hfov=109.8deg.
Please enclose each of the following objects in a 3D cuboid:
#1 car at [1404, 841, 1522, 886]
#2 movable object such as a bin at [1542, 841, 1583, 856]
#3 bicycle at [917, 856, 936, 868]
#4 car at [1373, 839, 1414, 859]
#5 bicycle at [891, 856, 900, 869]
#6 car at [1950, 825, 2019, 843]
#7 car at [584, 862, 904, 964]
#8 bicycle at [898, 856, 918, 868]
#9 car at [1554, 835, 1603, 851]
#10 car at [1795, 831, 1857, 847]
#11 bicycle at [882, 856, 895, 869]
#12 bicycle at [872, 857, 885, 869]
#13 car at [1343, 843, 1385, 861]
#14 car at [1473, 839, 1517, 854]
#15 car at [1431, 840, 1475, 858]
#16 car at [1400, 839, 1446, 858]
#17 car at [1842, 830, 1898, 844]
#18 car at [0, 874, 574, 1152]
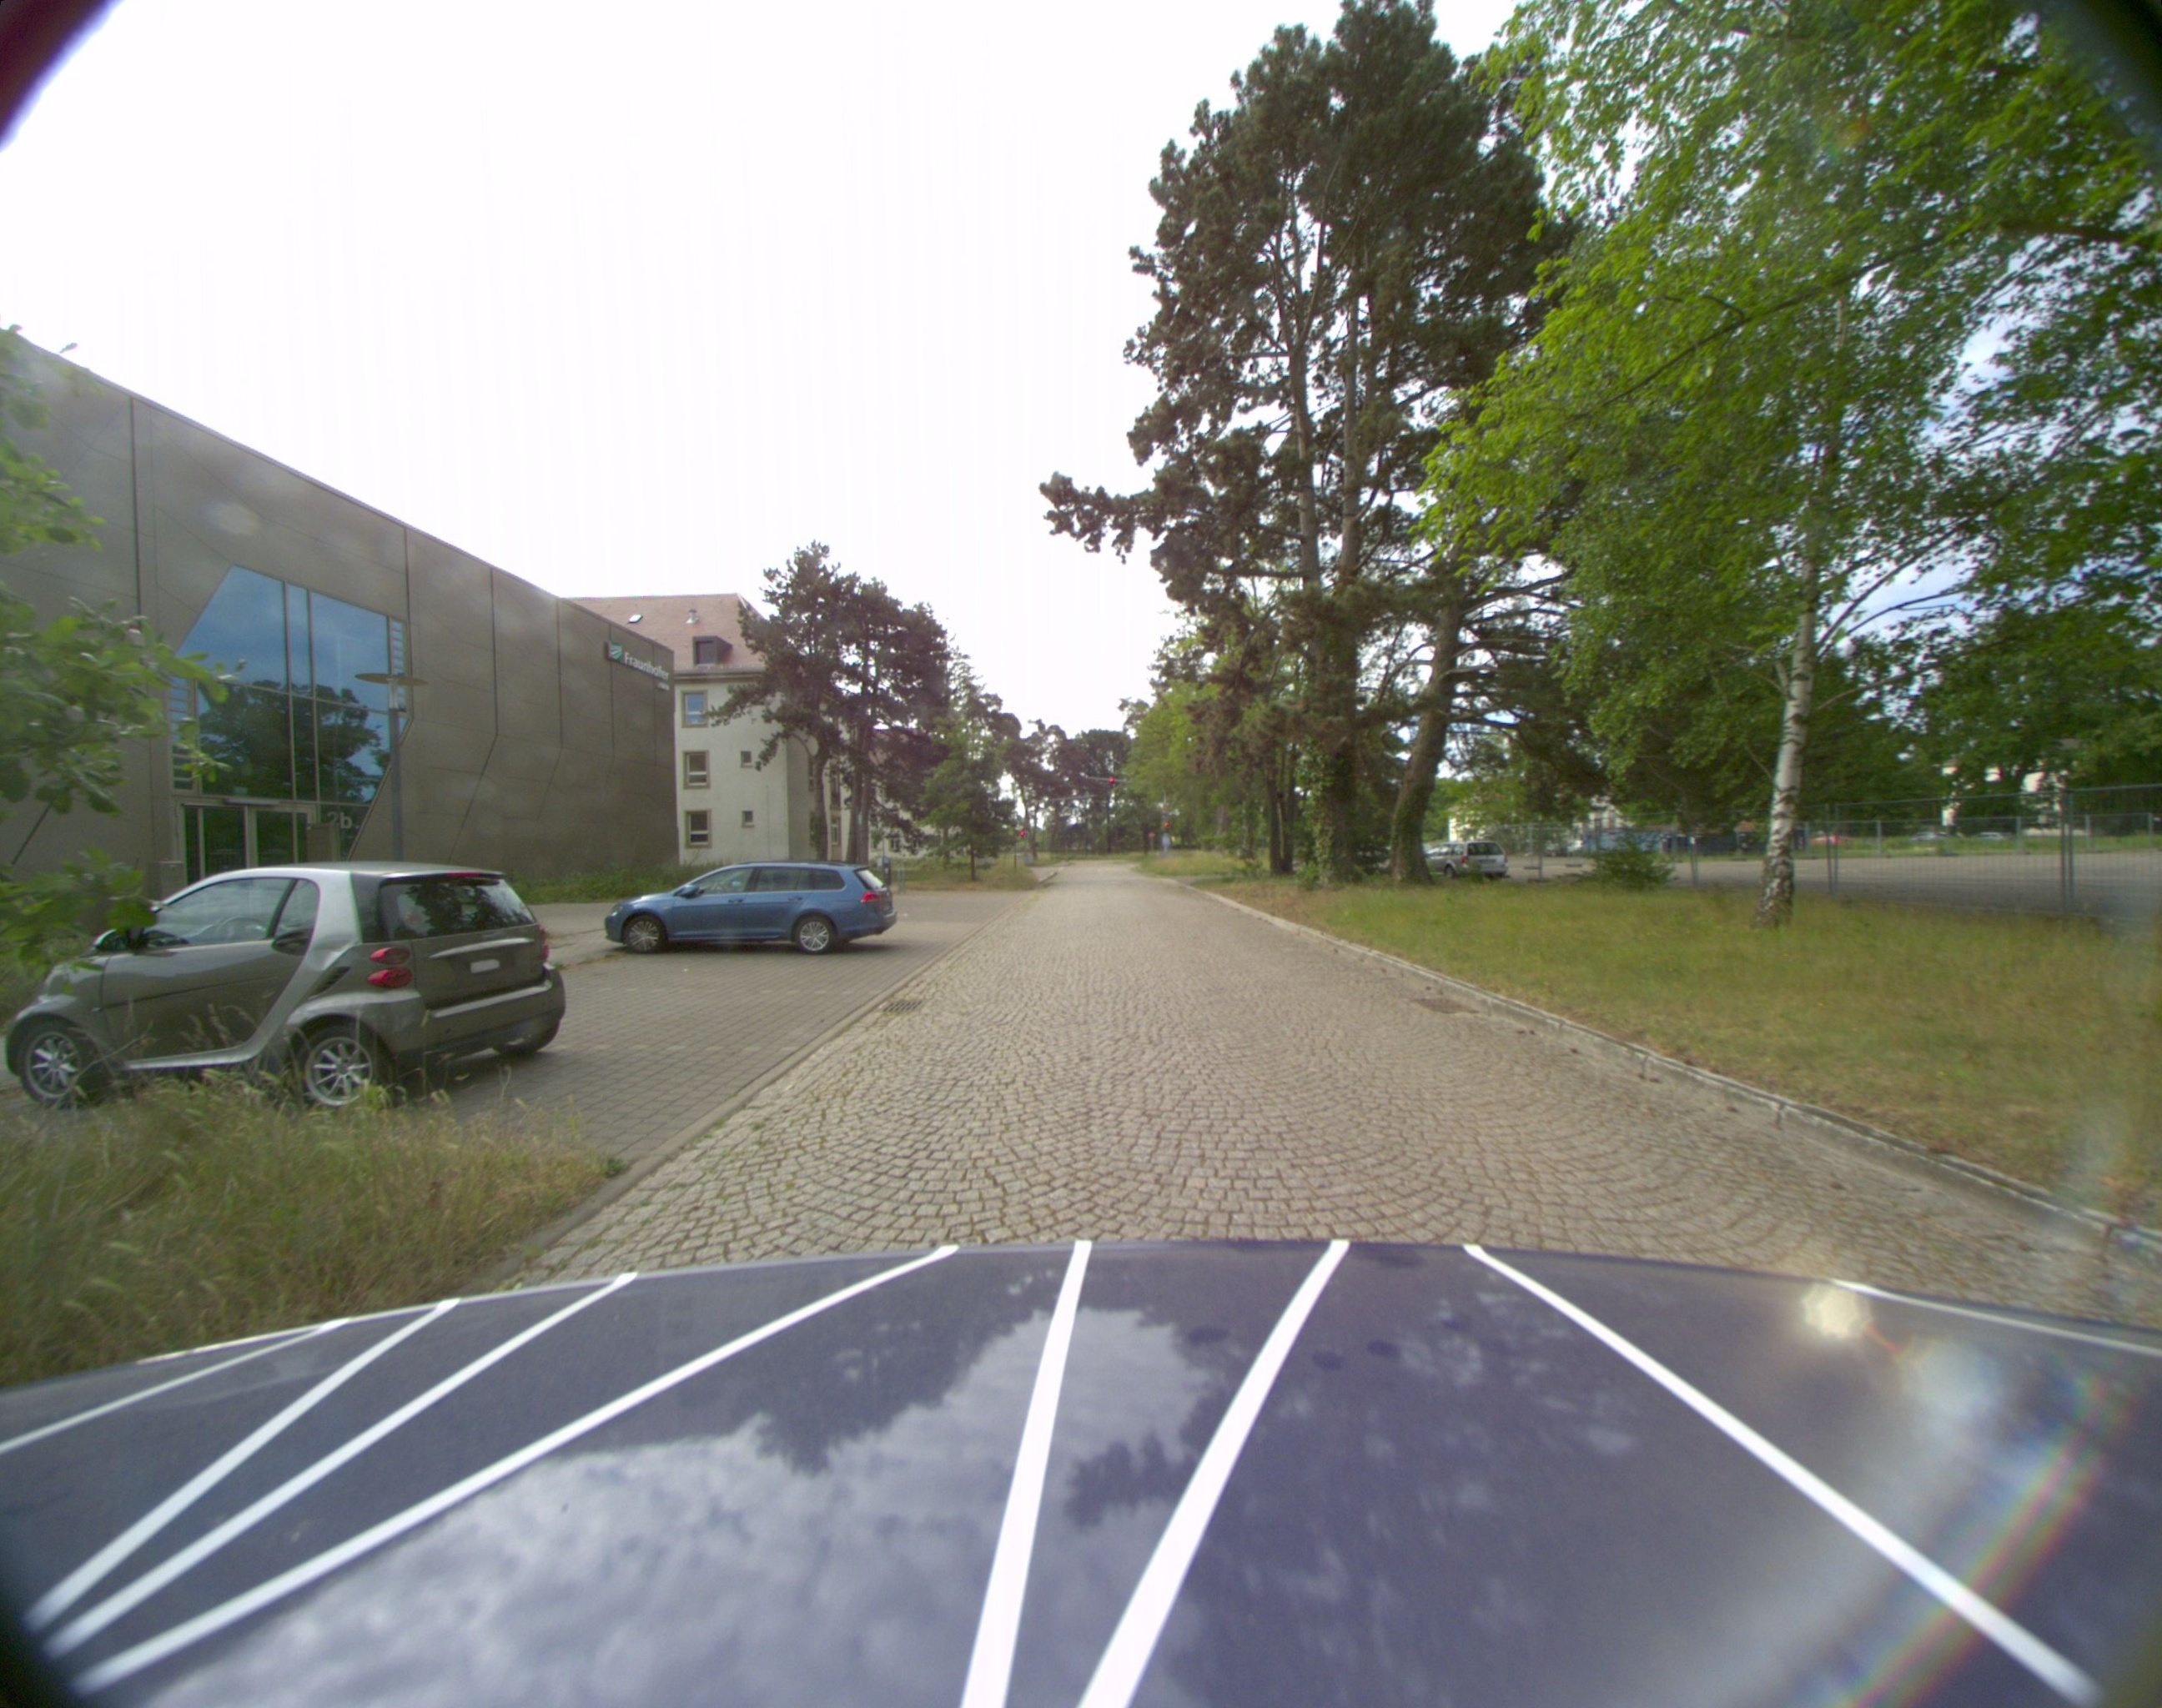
[{"bbox_3d":[13.353,0.297,26.877,1.829,1.408,4.420,1,0,-2],"label":"car"},{"bbox_3d":[32.978,-0.350,52.044,1.447,0.963,1.957,-2,1,-7],"label":"movable object such as a bin"},{"bbox_3d":[-14.422,0.772,71.010,1.656,1.079,0.614,-2,1,-3],"label":"bicycle"},{"bbox_3d":[26.401,-0.384,64.300,1.674,1.511,3.899,-2,-1,-2],"label":"car"},{"bbox_3d":[-17.677,0.810,72.526,0.476,1.121,1.656,-1,1,0],"label":"bicycle"},{"bbox_3d":[89.023,-1.960,74.935,1.828,1.712,4.585,-1,1,9],"label":"car"},{"bbox_3d":[-5.421,0.930,12.686,4.503,1.467,1.829,1,2,-2],"label":"car"},{"bbox_3d":[-16.124,0.749,70.878,1.655,1.079,0.615,-1,1,3],"label":"bicycle"},{"bbox_3d":[49.480,-1.065,75.652,1.830,1.467,4.400,-2,1,-4],"label":"car"},{"bbox_3d":[74.050,-1.440,75.593,1.829,1.467,4.402,-1,1,0],"label":"car"},{"bbox_3d":[-18.303,0.816,72.297,0.476,1.121,1.704,-1,1,9],"label":"bicycle"},{"bbox_3d":[-19.272,0.842,72.394,0.447,1.121,1.732,-1,1,9],"label":"bicycle"},{"bbox_3d":[23.896,-0.215,64.269,1.829,1.417,4.319,-2,1,-2],"label":"car"},{"bbox_3d":[41.096,-0.732,75.467,1.829,1.467,4.401,-2,1,-2],"label":"car"},{"bbox_3d":[31.852,-0.439,65.162,1.637,1.391,4.036,-2,1,-2],"label":"car"},{"bbox_3d":[29.052,-0.456,64.695,1.829,1.467,4.401,-2,1,-2],"label":"car"},{"bbox_3d":[79.407,-1.667,76.529,1.709,1.343,4.406,-1,1,11],"label":"car"},{"bbox_3d":[-5.491,0.965,5.369,2.716,1.547,1.654,1,1,3],"label":"car"}]
